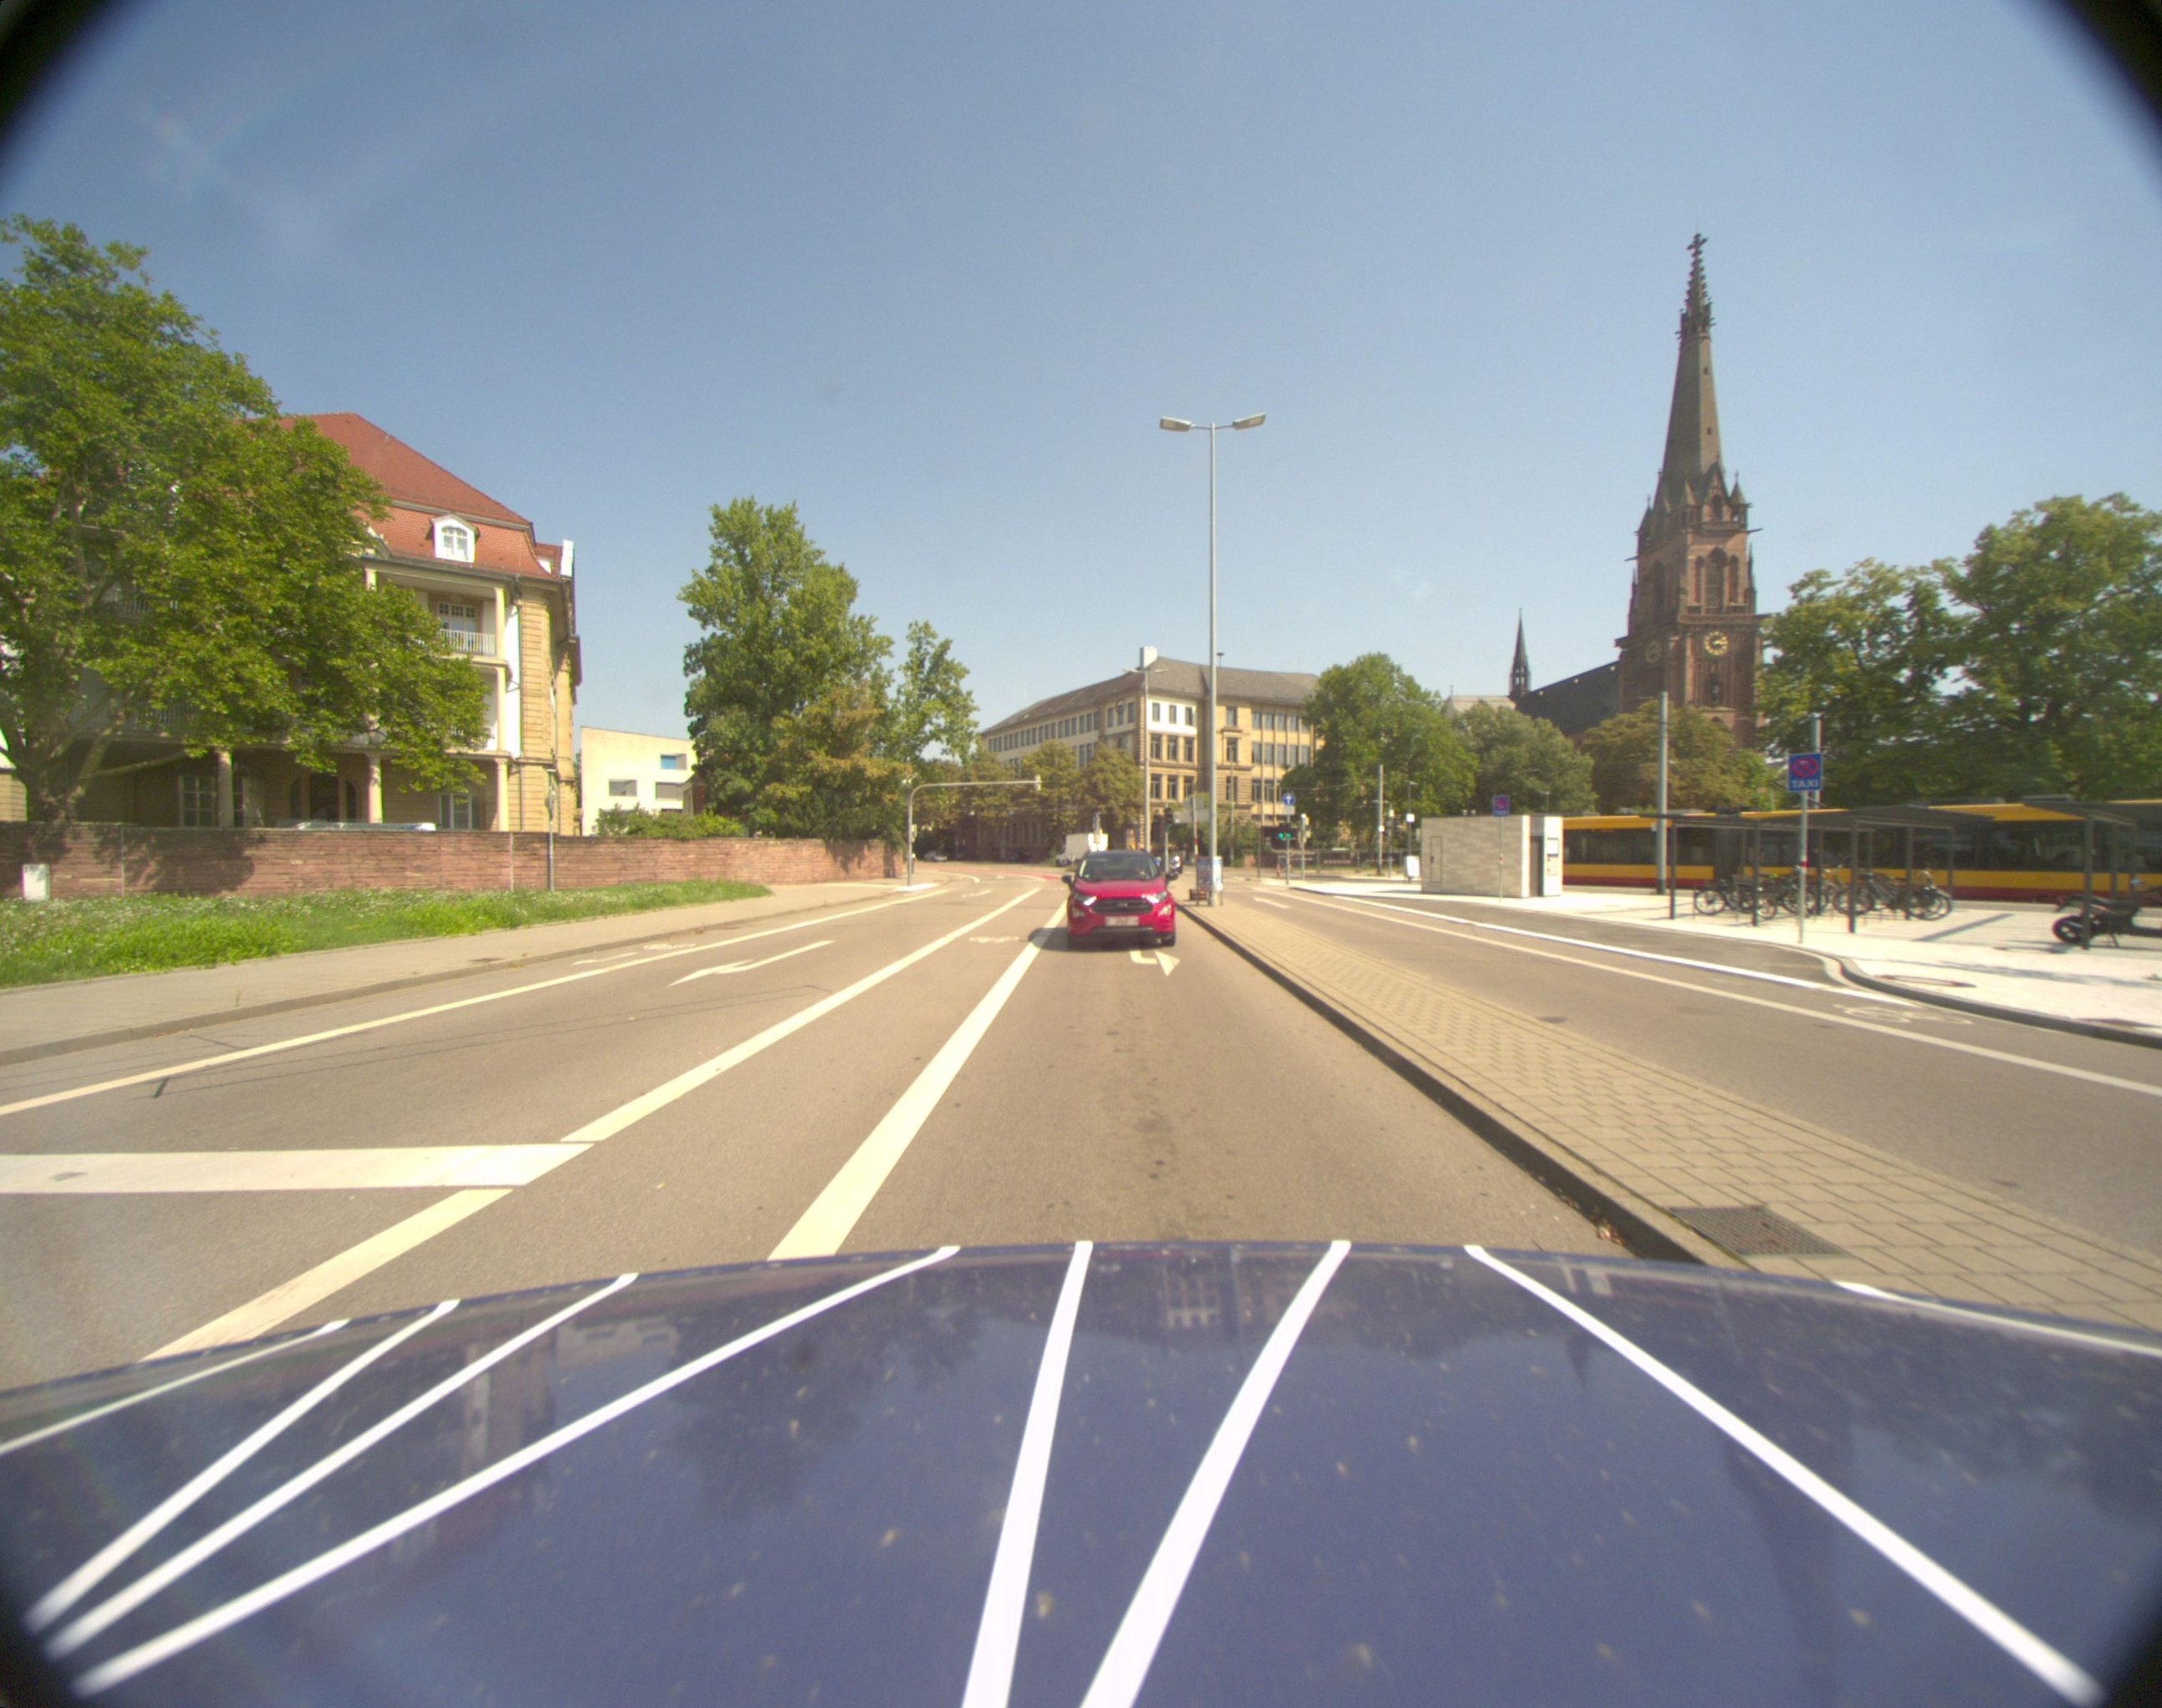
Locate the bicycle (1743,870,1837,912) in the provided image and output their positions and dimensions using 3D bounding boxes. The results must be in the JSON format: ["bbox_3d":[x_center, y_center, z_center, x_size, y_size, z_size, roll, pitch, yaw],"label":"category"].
[{"bbox_3d":[19.059,0.967,20.460,0.528,1.034,1.765,0,1,-31],"label":"bicycle"}]

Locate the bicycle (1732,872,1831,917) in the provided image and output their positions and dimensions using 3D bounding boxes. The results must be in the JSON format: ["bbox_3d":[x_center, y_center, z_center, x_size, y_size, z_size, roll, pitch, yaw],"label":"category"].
[{"bbox_3d":[17.834,1.008,19.400,0.528,1.034,1.765,0,1,-31],"label":"bicycle"}]

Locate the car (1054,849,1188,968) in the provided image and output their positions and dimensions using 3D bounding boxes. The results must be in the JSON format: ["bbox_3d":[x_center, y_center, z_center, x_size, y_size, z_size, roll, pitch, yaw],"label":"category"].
[{"bbox_3d":[0.626,0.765,12.833,1.844,1.605,4.000,-3,0,2],"label":"car"}]

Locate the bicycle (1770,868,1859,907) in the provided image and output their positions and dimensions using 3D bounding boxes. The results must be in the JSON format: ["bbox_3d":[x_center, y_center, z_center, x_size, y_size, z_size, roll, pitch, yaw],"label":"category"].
[{"bbox_3d":[21.134,0.936,21.932,0.528,1.034,1.765,0,1,-31],"label":"bicycle"}]

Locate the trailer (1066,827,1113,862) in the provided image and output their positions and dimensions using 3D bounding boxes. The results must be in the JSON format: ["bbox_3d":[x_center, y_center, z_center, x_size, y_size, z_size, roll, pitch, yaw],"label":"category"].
[{"bbox_3d":[0.794,-0.888,73.787,2.446,3.269,5.076,-1,1,-29],"label":"trailer"}]

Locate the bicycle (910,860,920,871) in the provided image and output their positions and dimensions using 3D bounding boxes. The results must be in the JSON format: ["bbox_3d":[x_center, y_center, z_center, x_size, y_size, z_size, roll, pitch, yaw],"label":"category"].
[{"bbox_3d":[-12.657,0.885,58.084,0.437,0.807,1.485,0,1,0],"label":"bicycle"}]

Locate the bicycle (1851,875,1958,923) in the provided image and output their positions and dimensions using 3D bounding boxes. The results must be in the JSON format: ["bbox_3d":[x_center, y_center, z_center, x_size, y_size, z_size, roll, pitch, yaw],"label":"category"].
[{"bbox_3d":[19.323,1.029,17.872,0.413,1.034,1.637,0,1,-31],"label":"bicycle"}]

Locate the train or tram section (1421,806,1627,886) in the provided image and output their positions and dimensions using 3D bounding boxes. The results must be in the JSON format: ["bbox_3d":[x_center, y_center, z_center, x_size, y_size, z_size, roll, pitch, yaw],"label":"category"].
[{"bbox_3d":[21.757,-0.311,37.938,3.144,3.539,8.307,1,-1,-33],"label":"train or tram section"}]

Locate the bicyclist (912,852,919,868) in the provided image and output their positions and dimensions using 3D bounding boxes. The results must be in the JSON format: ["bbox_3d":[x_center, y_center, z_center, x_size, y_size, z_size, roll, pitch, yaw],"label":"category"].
[{"bbox_3d":[-12.652,0.471,58.128,0.433,1.226,0.540,0,1,0],"label":"bicyclist"}]

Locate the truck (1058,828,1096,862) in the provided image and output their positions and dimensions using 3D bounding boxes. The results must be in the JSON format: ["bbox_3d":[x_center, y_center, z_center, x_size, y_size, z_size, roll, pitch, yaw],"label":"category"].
[{"bbox_3d":[-0.397,-0.922,75.982,2.433,3.269,3.419,-1,1,-28],"label":"truck"}]

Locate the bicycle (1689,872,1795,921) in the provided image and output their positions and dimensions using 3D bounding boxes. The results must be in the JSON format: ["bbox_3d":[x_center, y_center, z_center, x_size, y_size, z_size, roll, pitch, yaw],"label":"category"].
[{"bbox_3d":[15.989,1.002,18.430,0.528,1.076,1.860,0,1,-31],"label":"bicycle"}]

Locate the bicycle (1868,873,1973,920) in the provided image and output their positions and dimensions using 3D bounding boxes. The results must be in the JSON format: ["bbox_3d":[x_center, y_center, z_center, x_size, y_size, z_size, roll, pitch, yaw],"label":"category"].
[{"bbox_3d":[20.304,1.007,18.415,0.413,1.034,1.637,0,1,-31],"label":"bicycle"}]

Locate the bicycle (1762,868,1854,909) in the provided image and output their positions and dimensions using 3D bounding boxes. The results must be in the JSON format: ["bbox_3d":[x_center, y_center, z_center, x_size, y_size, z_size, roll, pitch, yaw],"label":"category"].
[{"bbox_3d":[20.293,0.939,21.251,0.528,1.034,1.765,0,1,-31],"label":"bicycle"}]

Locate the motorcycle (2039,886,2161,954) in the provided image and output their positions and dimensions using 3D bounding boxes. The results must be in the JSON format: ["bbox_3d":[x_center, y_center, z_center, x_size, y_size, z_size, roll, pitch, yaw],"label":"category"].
[{"bbox_3d":[18.073,1.132,13.165,0.492,1.063,1.775,0,1,-30],"label":"motorcycle"}]

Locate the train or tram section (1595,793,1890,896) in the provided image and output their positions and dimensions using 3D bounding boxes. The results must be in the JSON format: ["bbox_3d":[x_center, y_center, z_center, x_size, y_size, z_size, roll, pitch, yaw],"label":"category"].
[{"bbox_3d":[26.374,-0.309,30.904,3.167,3.576,8.504,1,0,-33],"label":"train or tram section"}]

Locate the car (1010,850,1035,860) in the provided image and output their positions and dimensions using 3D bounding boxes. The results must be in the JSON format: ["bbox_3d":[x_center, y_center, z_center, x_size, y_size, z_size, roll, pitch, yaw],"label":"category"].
[{"bbox_3d":[-7.508,0.107,98.228,3.064,1.169,1.248,0,1,-37],"label":"car"}]

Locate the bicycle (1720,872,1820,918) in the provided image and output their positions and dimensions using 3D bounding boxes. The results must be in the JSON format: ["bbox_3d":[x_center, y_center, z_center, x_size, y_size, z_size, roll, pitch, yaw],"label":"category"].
[{"bbox_3d":[17.228,1.005,19.037,0.528,1.034,1.765,0,1,-31],"label":"bicycle"}]

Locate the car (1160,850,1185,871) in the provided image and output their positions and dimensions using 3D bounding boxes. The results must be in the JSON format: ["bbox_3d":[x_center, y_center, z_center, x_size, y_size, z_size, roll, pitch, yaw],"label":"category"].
[{"bbox_3d":[6.839,0.465,57.065,1.584,1.489,3.586,2,1,2],"label":"car"}]

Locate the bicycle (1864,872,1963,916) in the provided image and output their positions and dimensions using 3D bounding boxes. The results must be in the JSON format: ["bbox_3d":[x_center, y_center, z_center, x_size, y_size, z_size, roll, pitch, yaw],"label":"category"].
[{"bbox_3d":[21.316,1.002,19.488,0.413,1.034,1.637,0,1,-31],"label":"bicycle"}]

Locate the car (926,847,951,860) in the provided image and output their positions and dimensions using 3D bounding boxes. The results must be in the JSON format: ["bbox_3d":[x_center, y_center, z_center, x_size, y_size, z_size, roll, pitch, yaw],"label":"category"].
[{"bbox_3d":[-18.743,-0.086,99.956,1.891,1.587,3.989,0,1,-33],"label":"car"}]

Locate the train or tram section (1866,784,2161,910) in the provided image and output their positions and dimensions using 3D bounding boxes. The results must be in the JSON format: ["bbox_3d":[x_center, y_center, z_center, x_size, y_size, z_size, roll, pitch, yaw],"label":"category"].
[{"bbox_3d":[31.025,-0.182,23.797,3.167,3.576,8.504,1,0,-33],"label":"train or tram section"}]
